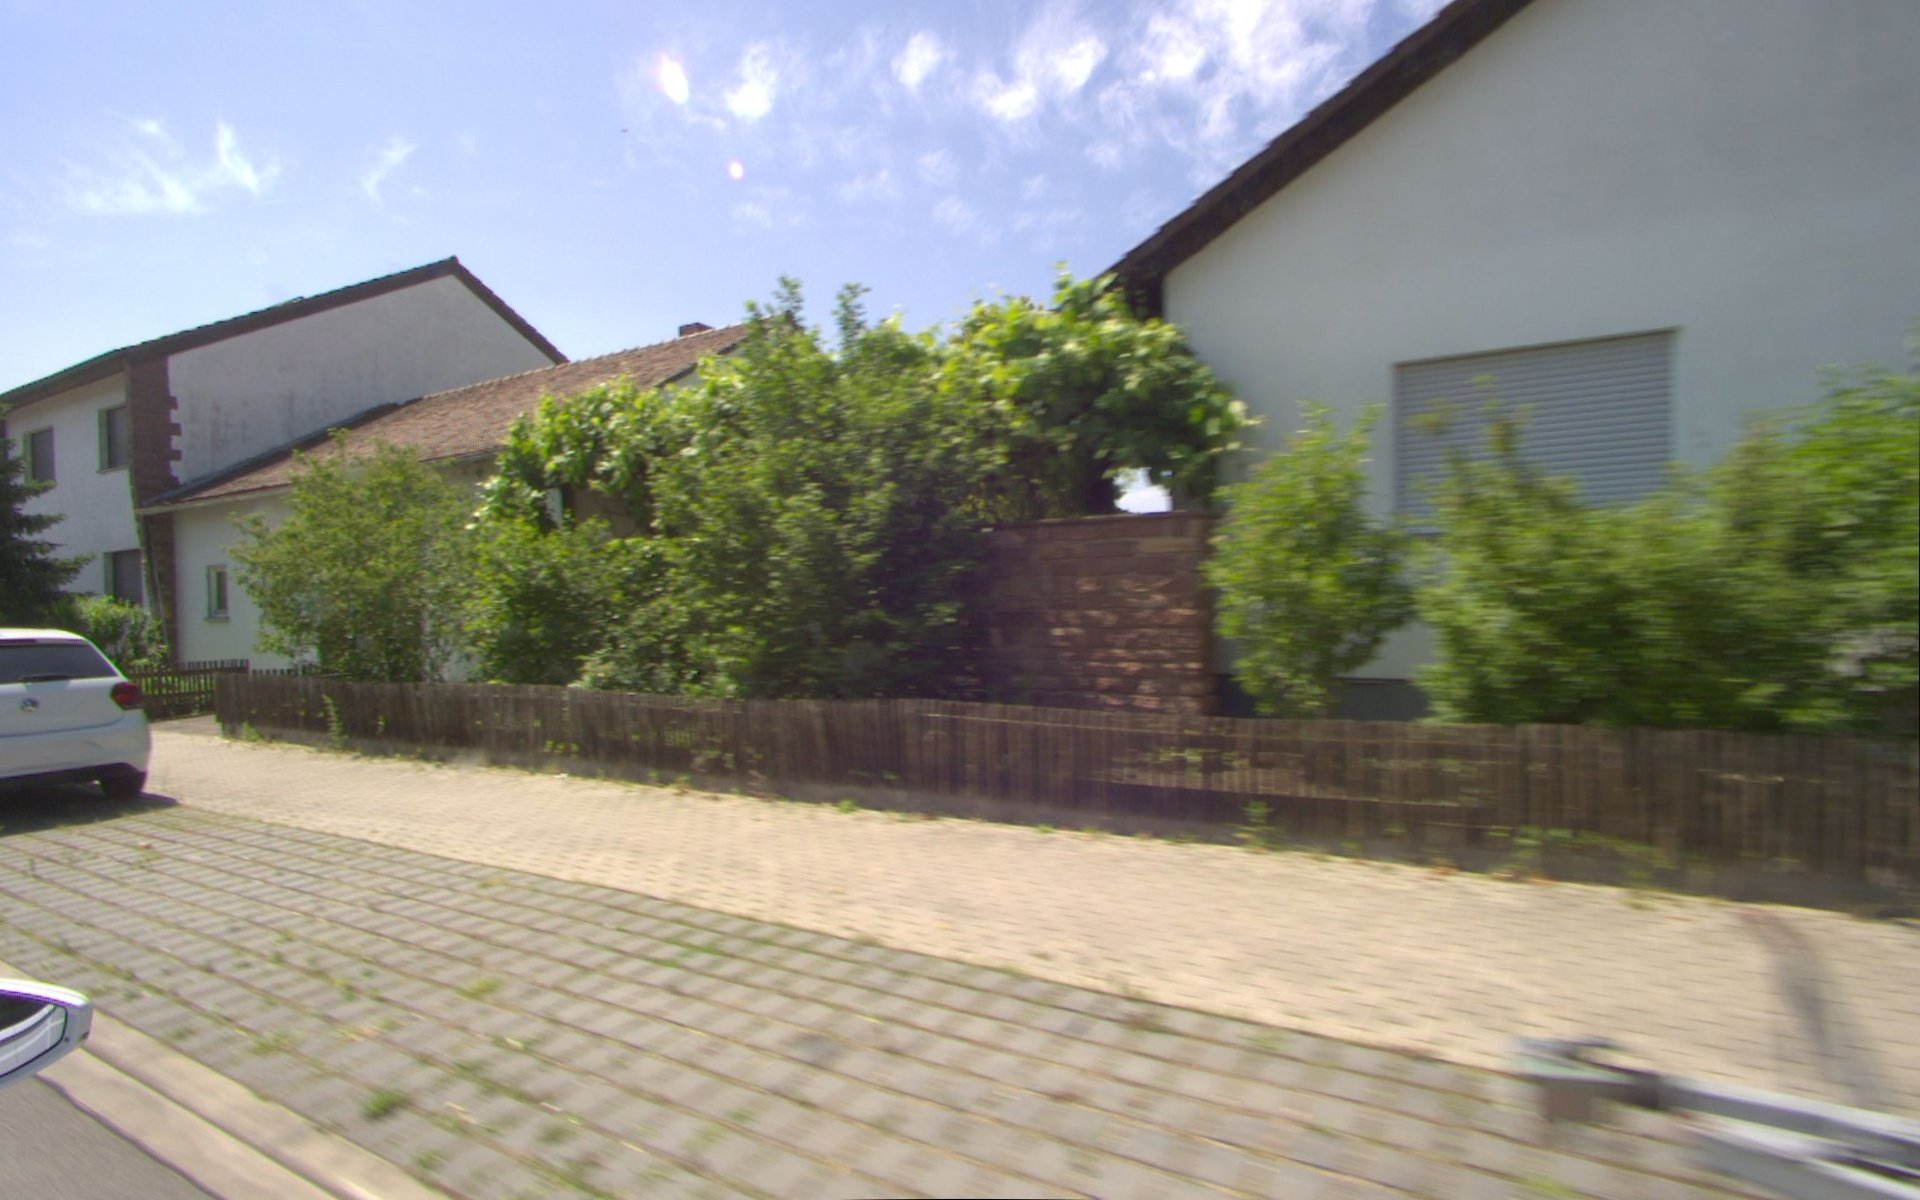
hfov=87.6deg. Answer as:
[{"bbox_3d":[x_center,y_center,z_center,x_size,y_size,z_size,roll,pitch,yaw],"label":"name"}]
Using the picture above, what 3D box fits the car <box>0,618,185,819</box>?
[{"bbox_3d":[-8.497,0.902,8.506,3.812,1.439,1.810,-1,0,32],"label":"car"}]
